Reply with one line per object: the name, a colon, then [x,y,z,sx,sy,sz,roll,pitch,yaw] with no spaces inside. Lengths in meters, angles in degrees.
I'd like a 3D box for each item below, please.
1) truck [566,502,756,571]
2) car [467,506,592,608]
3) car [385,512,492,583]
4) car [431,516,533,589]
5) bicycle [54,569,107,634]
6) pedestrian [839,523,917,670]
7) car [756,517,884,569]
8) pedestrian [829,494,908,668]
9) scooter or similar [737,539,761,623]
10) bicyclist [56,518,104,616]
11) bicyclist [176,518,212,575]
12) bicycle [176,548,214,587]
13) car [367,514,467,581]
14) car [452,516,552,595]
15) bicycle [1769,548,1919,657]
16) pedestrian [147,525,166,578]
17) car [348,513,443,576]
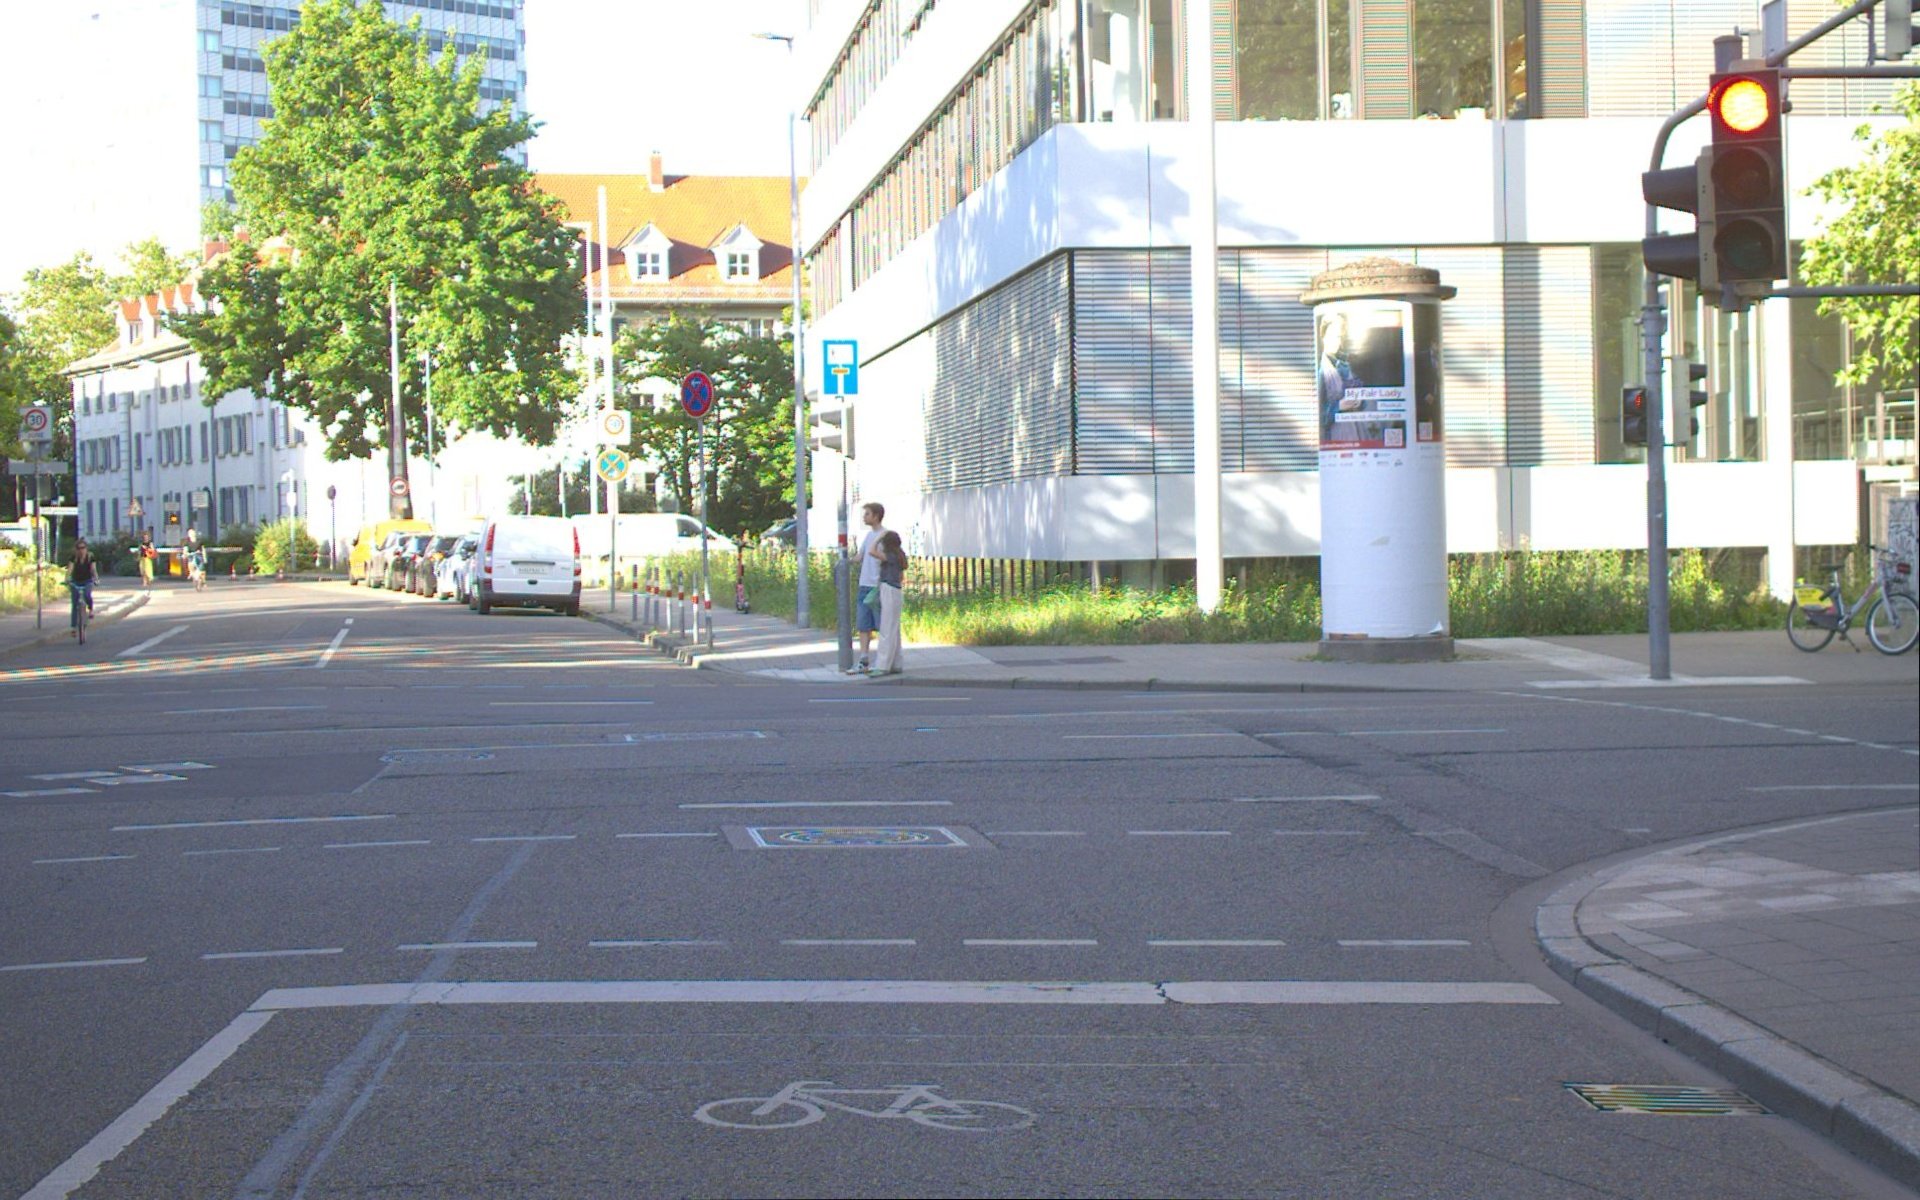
truck: [-8.968,-1.917,103.071,5.336,2.007,2.001,-1,1,-19]
car: [-8.141,-0.842,64.717,2.084,1.789,4.417,-1,2,-10]
car: [-13.005,-1.331,85.581,1.888,1.650,4.417,-1,2,-19]
car: [-10.921,-1.114,78.334,1.888,1.550,4.417,-1,2,-13]
bicycle: [-13.902,0.014,54.383,0.615,0.966,1.842,-2,1,-9]
pedestrian: [-0.889,-0.043,37.225,0.559,1.535,0.677,-5,2,-18]
car: [-4.253,-1.735,104.259,3.554,1.541,1.559,-1,1,-19]
pedestrian: [-1.004,-0.214,37.828,0.560,1.844,0.677,-3,2,16]
scooter or similar: [-3.591,-0.328,58.592,0.330,1.419,1.335,1,0,-6]
bicyclist: [-13.913,-0.526,54.381,0.615,1.527,0.903,-2,1,-9]
bicyclist: [-21.069,-1.468,94.580,0.865,1.510,1.019,-4,1,-11]
bicycle: [-21.041,-0.886,94.576,0.865,1.006,2.415,-4,1,-11]
car: [-14.346,-1.413,90.685,1.888,1.650,4.417,-1,2,-19]
car: [-9.747,-0.969,72.964,1.888,1.550,4.417,-1,2,-10]
bicycle: [9.311,0.011,36.059,0.507,1.045,1.687,-4,5,-35]
pedestrian: [-24.509,-1.476,104.822,0.433,1.602,0.493,-2,1,-26]
car: [-15.700,-1.573,95.516,1.888,1.650,4.417,-1,2,-19]
